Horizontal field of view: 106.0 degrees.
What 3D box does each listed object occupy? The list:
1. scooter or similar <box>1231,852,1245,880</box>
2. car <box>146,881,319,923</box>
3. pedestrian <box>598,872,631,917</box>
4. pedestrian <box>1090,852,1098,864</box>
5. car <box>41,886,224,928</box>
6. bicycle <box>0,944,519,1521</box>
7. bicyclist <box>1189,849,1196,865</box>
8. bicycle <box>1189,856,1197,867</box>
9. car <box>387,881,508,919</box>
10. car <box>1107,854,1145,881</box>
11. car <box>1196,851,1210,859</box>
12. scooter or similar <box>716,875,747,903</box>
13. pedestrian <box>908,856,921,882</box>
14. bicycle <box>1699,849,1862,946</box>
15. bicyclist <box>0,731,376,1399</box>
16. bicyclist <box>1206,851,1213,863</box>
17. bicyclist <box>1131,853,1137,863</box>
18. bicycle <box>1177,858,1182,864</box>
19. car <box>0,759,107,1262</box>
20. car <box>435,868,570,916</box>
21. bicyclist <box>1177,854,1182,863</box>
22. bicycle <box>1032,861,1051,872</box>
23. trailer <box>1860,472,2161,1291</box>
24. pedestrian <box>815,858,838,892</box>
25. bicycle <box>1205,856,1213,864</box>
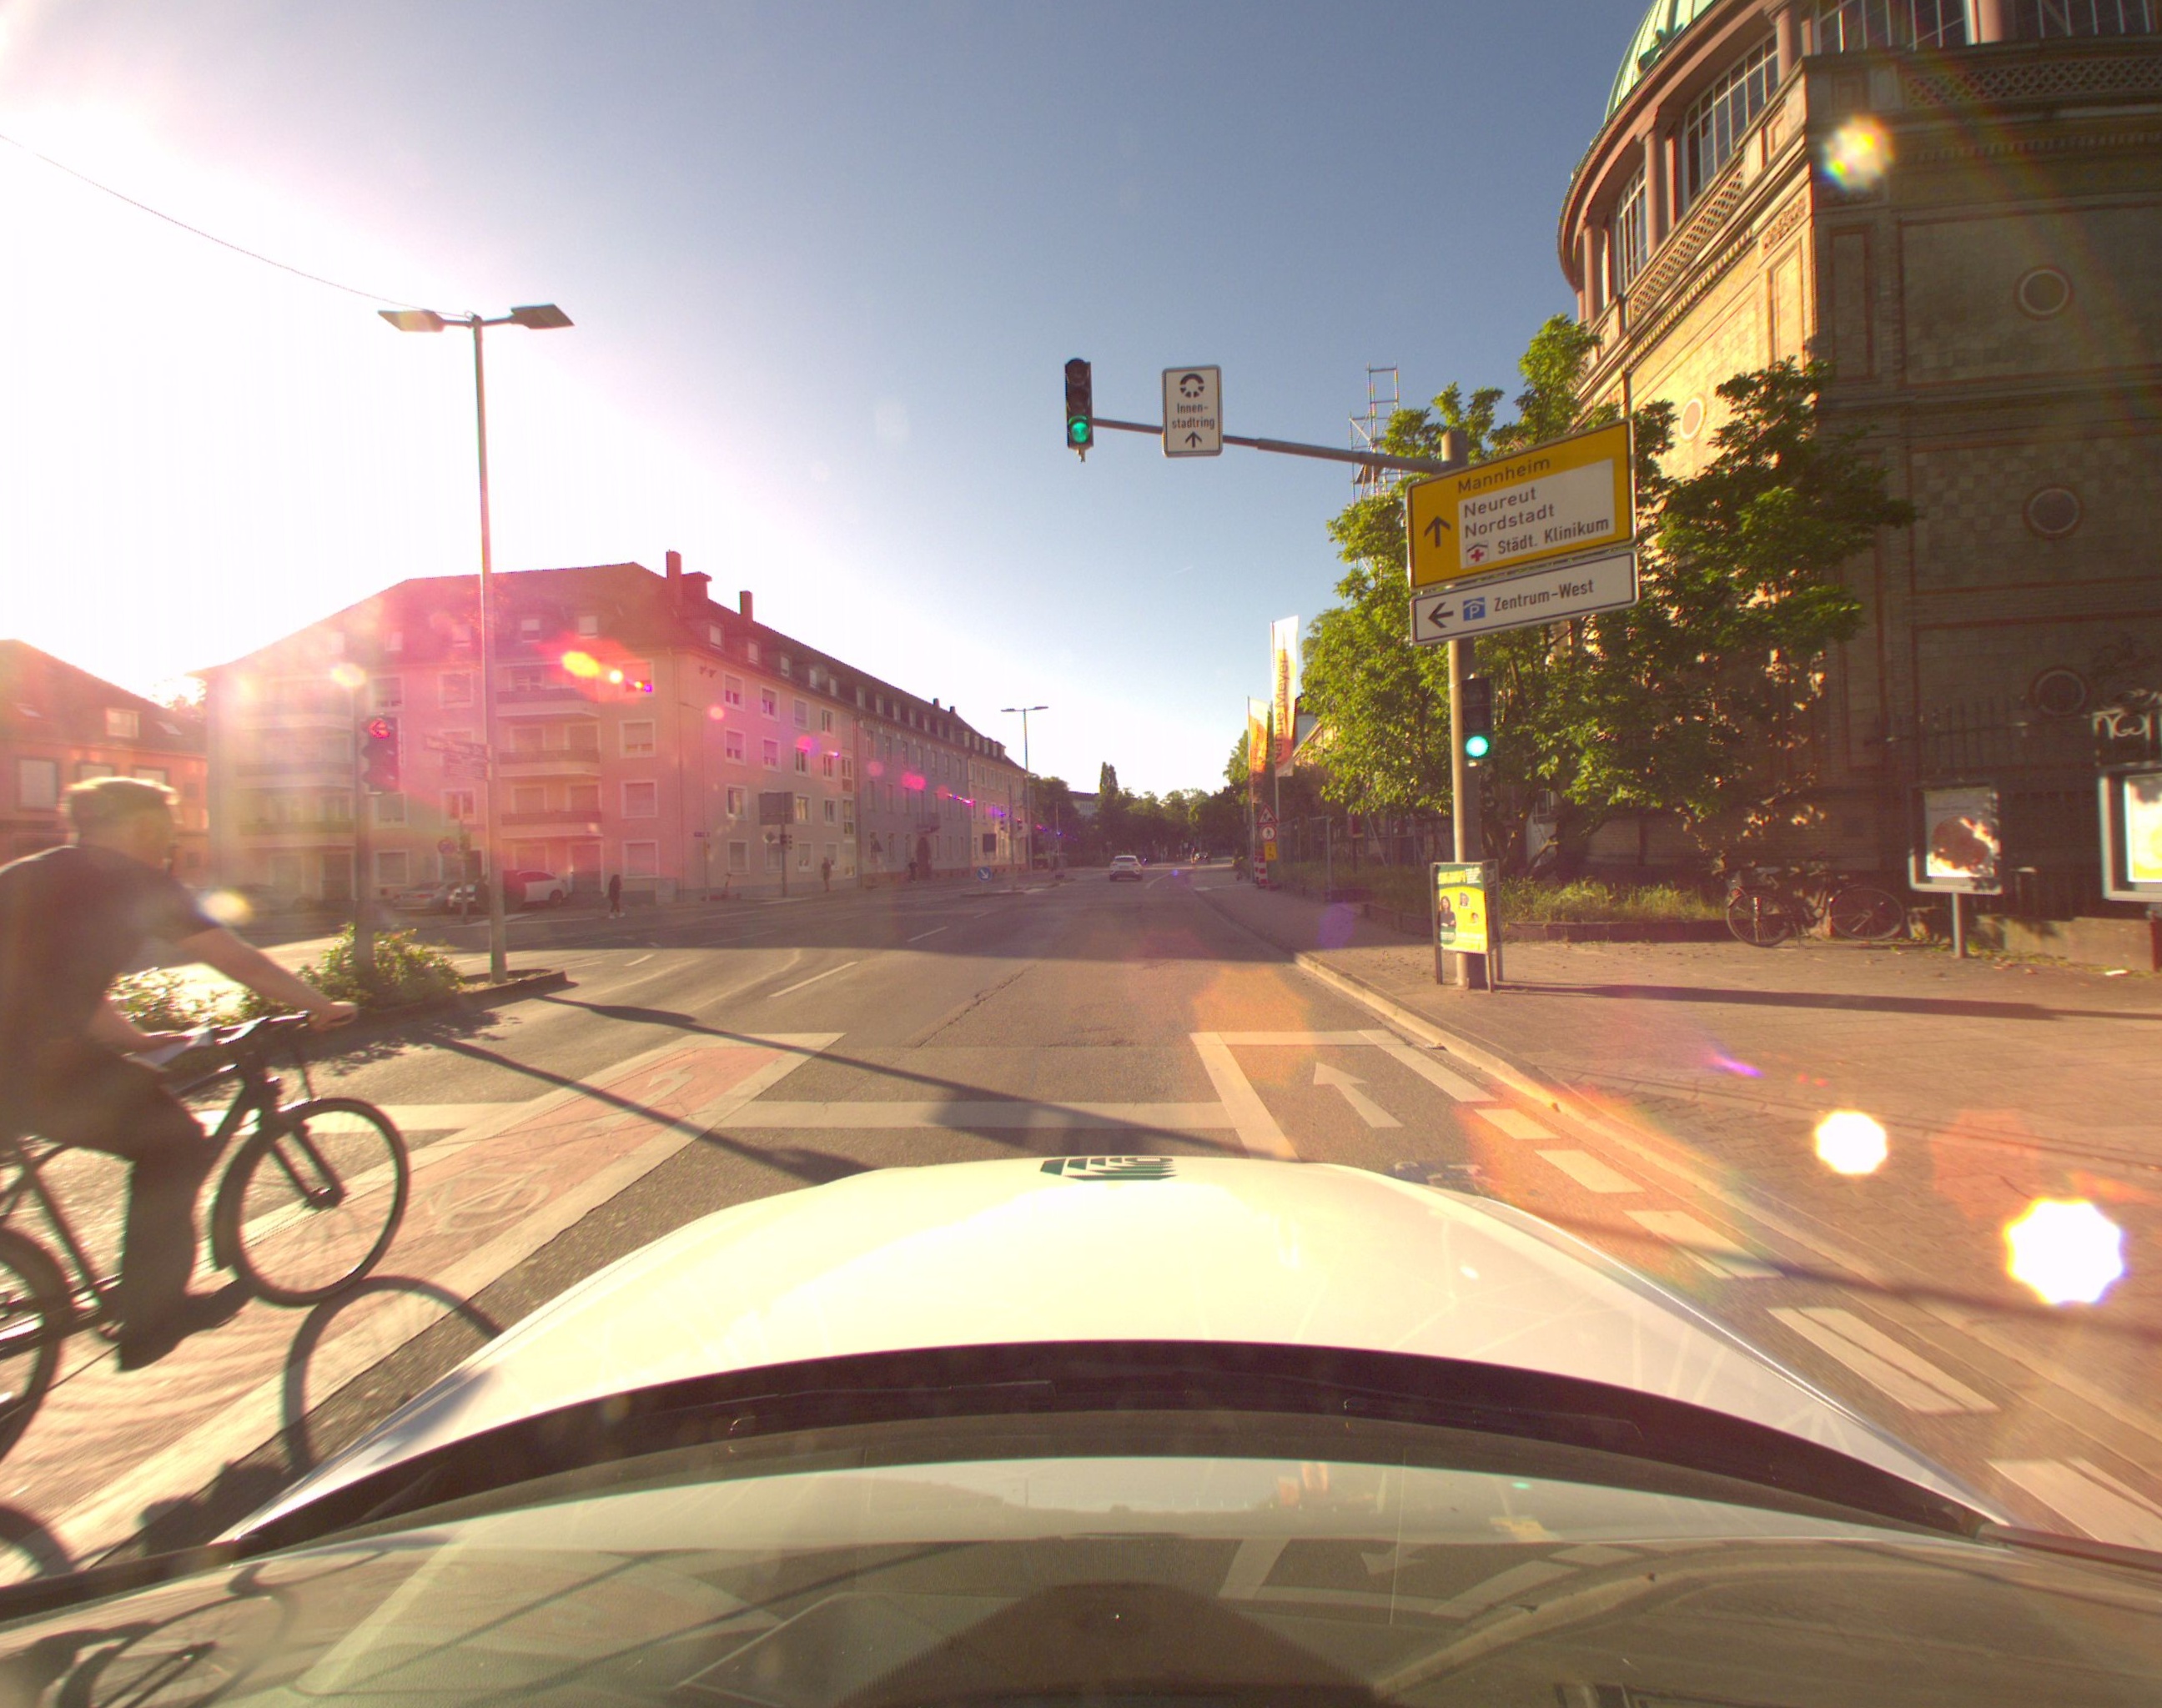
[{"bbox_3d":[7.715,0.574,40.078,0.552,1.308,1.837,-2,0,9],"label":"scooter or similar"},{"bbox_3d":[-35.729,1.986,34.533,1.983,1.432,4.795,-2,0,6],"label":"car"},{"bbox_3d":[-16.810,1.444,29.365,0.627,1.583,0.820,1,0,9],"label":"pedestrian"},{"bbox_3d":[1.913,0.624,122.720,0.849,1.851,1.005,-3,-1,16],"label":"pedestrian"},{"bbox_3d":[-40.474,2.220,34.972,1.983,1.432,4.795,-2,0,6],"label":"car"},{"bbox_3d":[-2.776,0.963,2.420,0.639,1.155,2.079,-1,0,4],"label":"bicycle"},{"bbox_3d":[11.391,0.315,83.171,0.632,1.614,1.288,-1,0,12],"label":"bicyclist"},{"bbox_3d":[11.424,0.755,83.255,0.639,1.024,2.220,0,0,12],"label":"bicycle"},{"bbox_3d":[-26.014,1.848,33.622,1.598,1.310,4.006,-2,0,5],"label":"car"},{"bbox_3d":[2.719,0.757,48.530,1.983,1.453,4.007,-3,-1,6],"label":"car"},{"bbox_3d":[24.702,0.188,164.563,1.796,1.419,4.577,-2,0,19],"label":"car"},{"bbox_3d":[-16.268,1.619,37.938,0.530,1.185,1.478,-1,0,11],"label":"scooter or similar"},{"bbox_3d":[-12.166,1.100,59.481,0.627,1.846,1.016,1,0,9],"label":"pedestrian"},{"bbox_3d":[8.234,0.501,9.616,1.460,1.039,0.479,-3,0,1],"label":"bicycle"},{"bbox_3d":[-2.799,0.519,2.392,0.667,1.608,0.826,-2,-1,4],"label":"bicyclist"},{"bbox_3d":[16.967,0.413,107.838,0.741,1.537,0.974,-2,0,17],"label":"bicyclist"},{"bbox_3d":[7.893,0.561,121.703,0.732,1.485,0.668,-4,-1,14],"label":"bicyclist"},{"bbox_3d":[19.254,1.347,158.982,0.592,1.120,2.035,-6,-1,15],"label":"bicycle"},{"bbox_3d":[-5.199,0.605,0.918,2.061,1.915,5.034,-2,-1,1],"label":"car"},{"bbox_3d":[-23.713,1.500,33.659,1.984,1.686,4.620,-2,0,4],"label":"car"},{"bbox_3d":[19.226,0.871,159.023,0.624,1.522,0.727,-5,-1,15],"label":"bicyclist"},{"bbox_3d":[-5.145,1.622,105.636,2.302,1.230,0.562,-2,0,16],"label":"bicycle"},{"bbox_3d":[4.287,0.049,1.148,2.071,2.528,4.495,-4,0,3],"label":"trailer"},{"bbox_3d":[-14.515,1.188,46.504,0.862,1.863,1.018,0,0,11],"label":"pedestrian"},{"bbox_3d":[16.928,0.806,107.681,0.747,1.026,1.878,-1,-1,17],"label":"bicycle"}]
